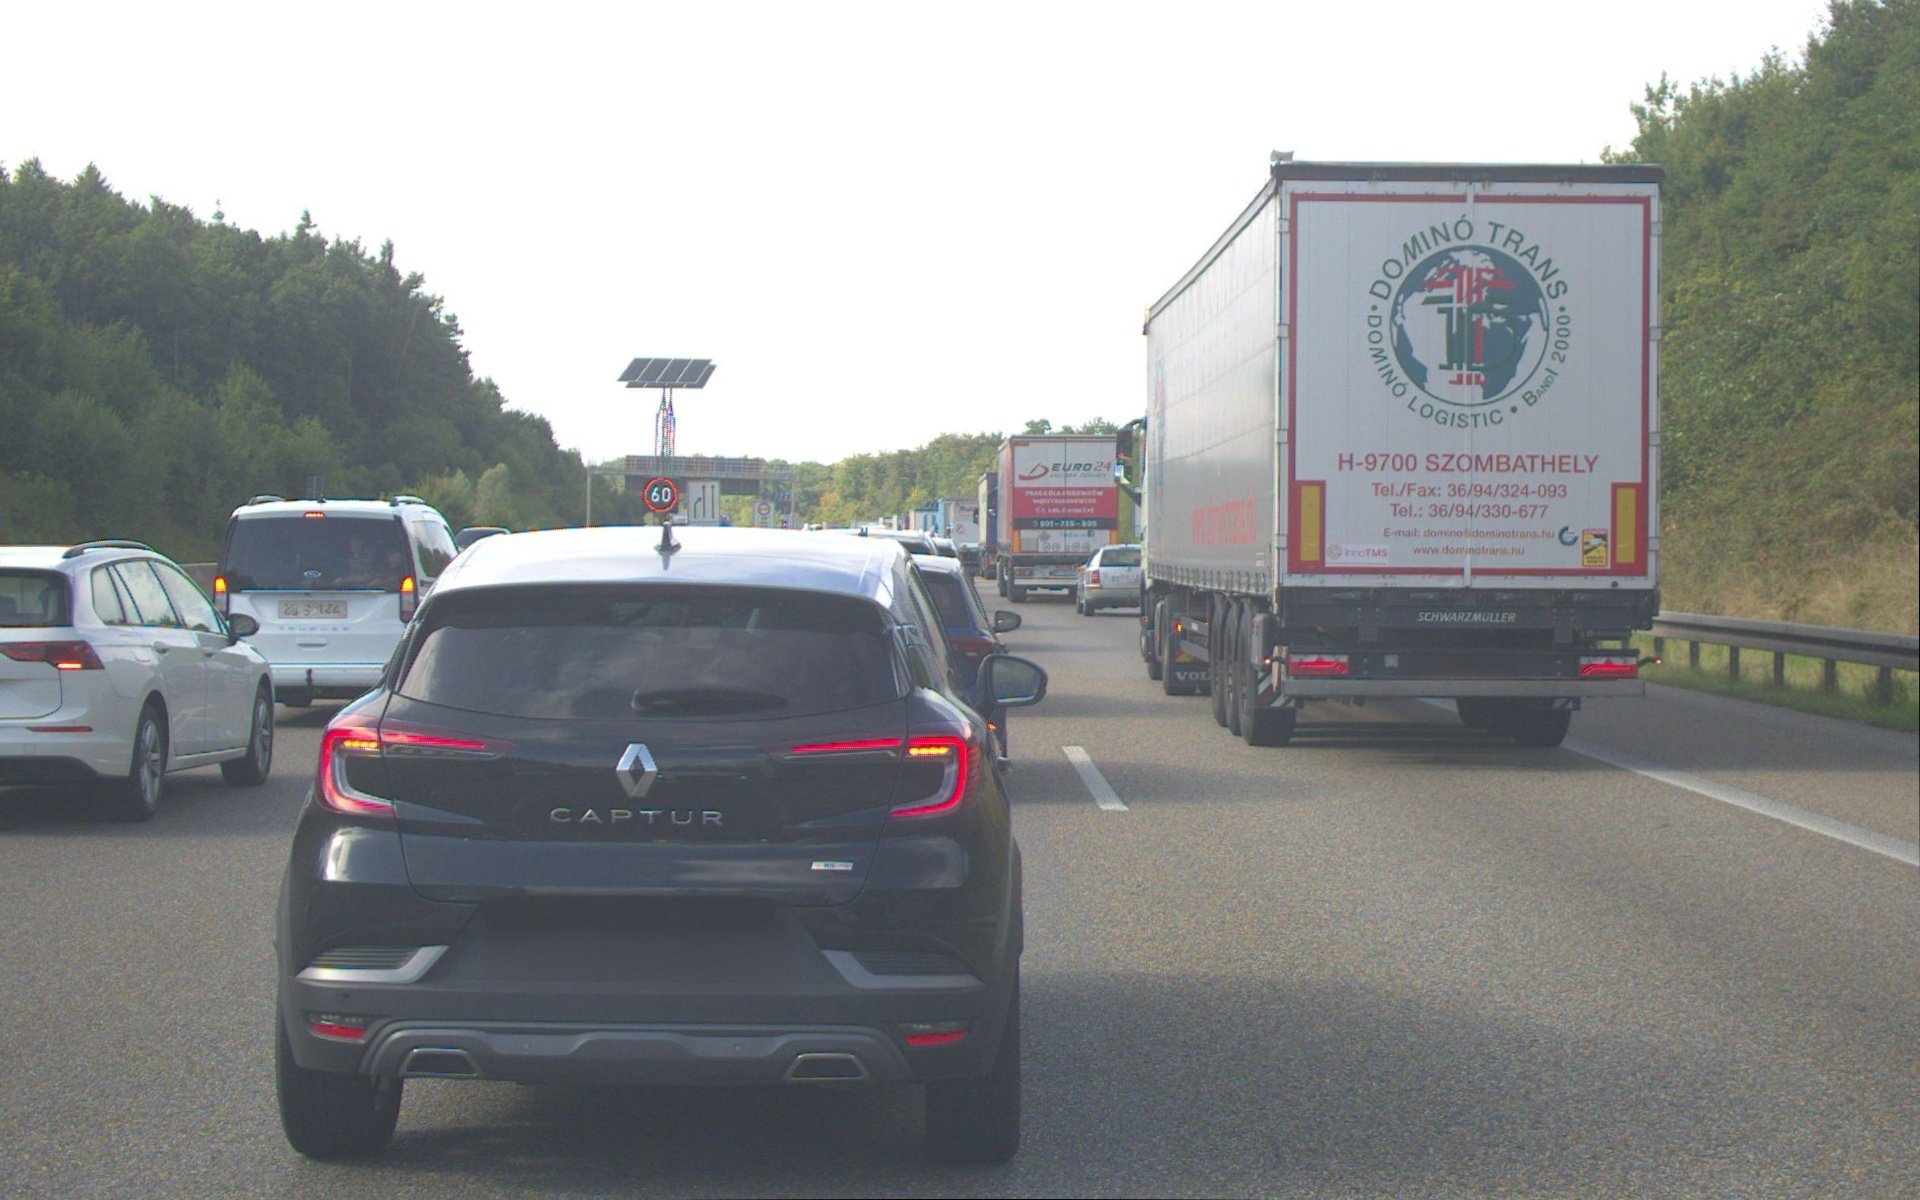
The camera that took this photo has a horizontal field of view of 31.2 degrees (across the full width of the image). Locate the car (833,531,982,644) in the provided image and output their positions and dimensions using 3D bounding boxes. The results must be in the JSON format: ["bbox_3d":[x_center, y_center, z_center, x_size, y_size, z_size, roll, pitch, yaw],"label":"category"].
[{"bbox_3d":[-0.699,-0.192,48.439,1.993,1.509,4.000,1,1,0],"label":"car"}]

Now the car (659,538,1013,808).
[{"bbox_3d":[-0.691,0.392,21.491,1.993,1.509,4.000,1,1,0],"label":"car"}]

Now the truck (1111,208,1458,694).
[{"bbox_3d":[3.254,-1.489,36.072,2.997,4.651,5.940,0,1,0],"label":"truck"}]

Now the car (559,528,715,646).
[{"bbox_3d":[-4.932,-0.216,53.002,1.993,1.716,4.000,1,1,0],"label":"car"}]

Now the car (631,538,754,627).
[{"bbox_3d":[-5.035,-0.350,65.162,1.993,1.607,4.000,1,1,0],"label":"car"}]

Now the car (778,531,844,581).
[{"bbox_3d":[-4.952,-1.477,114.587,1.993,1.607,4.000,1,1,0],"label":"car"}]

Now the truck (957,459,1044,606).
[{"bbox_3d":[1.592,-2.603,135.403,3.166,5.486,12.737,1,1,1],"label":"truck"}]

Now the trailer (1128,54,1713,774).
[{"bbox_3d":[3.317,-1.342,29.005,3.002,4.645,13.291,1,1,0],"label":"trailer"}]

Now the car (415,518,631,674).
[{"bbox_3d":[-4.845,-0.065,38.608,1.855,1.635,3.925,1,1,1],"label":"car"}]

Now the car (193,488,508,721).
[{"bbox_3d":[-5.013,0.011,28.844,1.911,1.783,4.418,1,1,-1],"label":"car"}]

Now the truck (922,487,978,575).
[{"bbox_3d":[-0.567,-4.169,210.440,3.166,5.142,12.737,1,1,1],"label":"truck"}]

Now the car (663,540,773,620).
[{"bbox_3d":[-5.088,-0.432,72.697,1.993,1.607,4.000,1,1,0],"label":"car"}]

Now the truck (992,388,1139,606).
[{"bbox_3d":[2.526,-2.462,86.463,3.365,5.027,12.737,1,1,1],"label":"truck"}]

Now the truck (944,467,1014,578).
[{"bbox_3d":[1.056,-3.943,177.602,3.167,5.486,12.737,1,1,2],"label":"truck"}]

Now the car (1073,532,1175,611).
[{"bbox_3d":[3.297,-0.580,69.719,1.804,1.527,3.926,1,1,-1],"label":"car"}]

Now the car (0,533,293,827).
[{"bbox_3d":[-5.079,0.365,19.189,1.804,1.456,4.308,0,1,1],"label":"car"}]

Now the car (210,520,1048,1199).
[{"bbox_3d":[-0.685,0.567,9.597,1.805,1.547,4.000,0,1,2],"label":"car"}]

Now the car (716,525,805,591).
[{"bbox_3d":[-5.039,-1.078,87.312,1.993,1.607,4.000,1,1,0],"label":"car"}]

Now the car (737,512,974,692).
[{"bbox_3d":[-0.882,-0.008,31.334,1.993,1.509,4.000,1,1,0],"label":"car"}]
